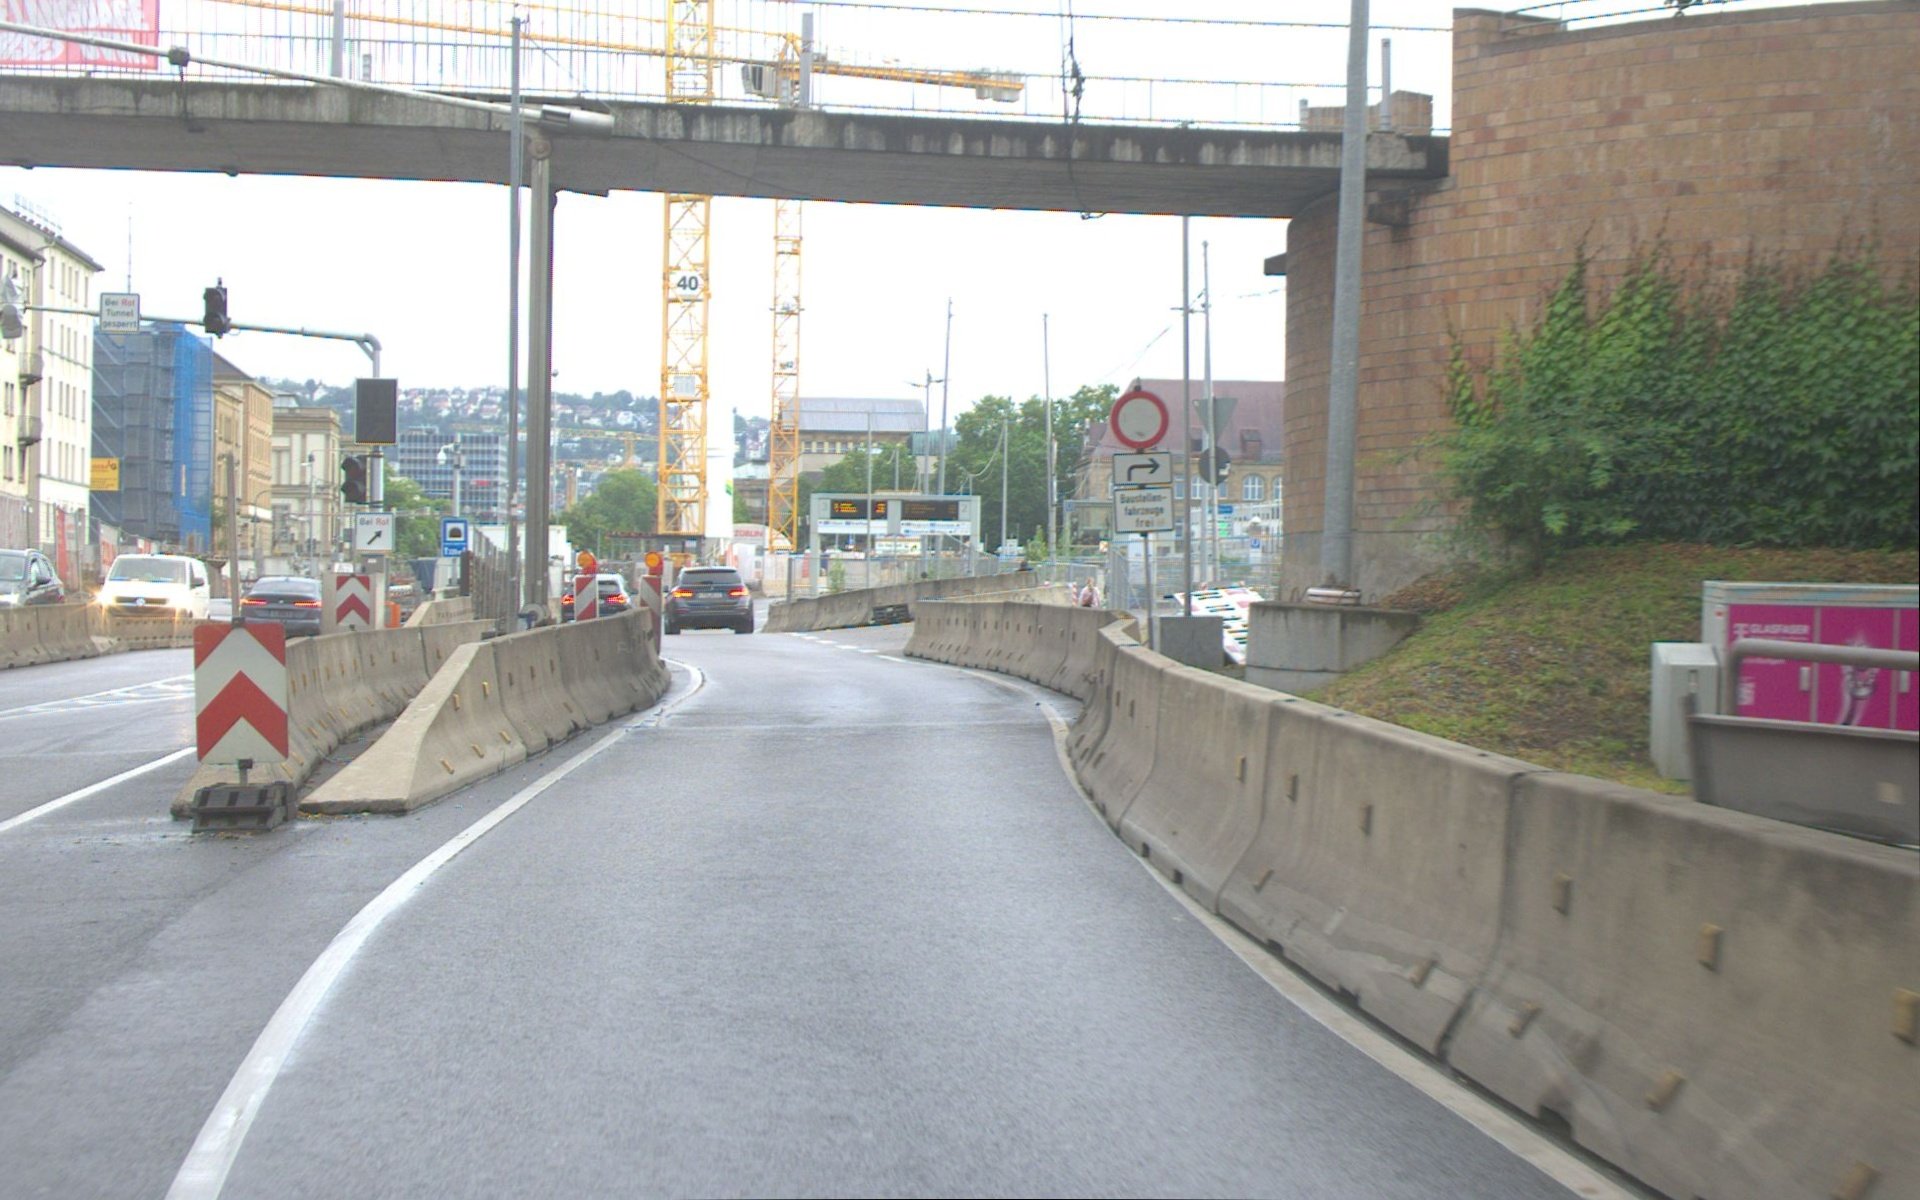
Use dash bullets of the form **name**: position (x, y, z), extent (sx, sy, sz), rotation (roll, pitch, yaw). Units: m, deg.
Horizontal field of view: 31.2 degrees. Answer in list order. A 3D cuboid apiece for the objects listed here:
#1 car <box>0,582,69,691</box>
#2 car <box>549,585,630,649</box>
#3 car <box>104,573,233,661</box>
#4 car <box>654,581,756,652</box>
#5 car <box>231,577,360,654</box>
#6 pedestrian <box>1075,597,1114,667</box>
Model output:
- **car**: position (-15.700, 0.551, 55.422), extent (1.805, 1.618, 3.904), rotation (0, 1, -3)
- **car**: position (-9.957, 0.446, 92.723), extent (1.862, 1.655, 4.656), rotation (1, 0, -3)
- **car**: position (-17.103, 0.331, 74.498), extent (1.805, 1.815, 5.301), rotation (0, 1, -3)
- **car**: position (-5.478, 0.336, 73.351), extent (1.862, 1.428, 4.657), rotation (1, 0, -8)
- **car**: position (-13.132, 0.297, 68.174), extent (1.862, 1.438, 4.657), rotation (1, 0, -3)
- **pedestrian**: position (3.421, 0.817, 87.484), extent (0.689, 1.772, 0.815), rotation (0, -1, -23)
